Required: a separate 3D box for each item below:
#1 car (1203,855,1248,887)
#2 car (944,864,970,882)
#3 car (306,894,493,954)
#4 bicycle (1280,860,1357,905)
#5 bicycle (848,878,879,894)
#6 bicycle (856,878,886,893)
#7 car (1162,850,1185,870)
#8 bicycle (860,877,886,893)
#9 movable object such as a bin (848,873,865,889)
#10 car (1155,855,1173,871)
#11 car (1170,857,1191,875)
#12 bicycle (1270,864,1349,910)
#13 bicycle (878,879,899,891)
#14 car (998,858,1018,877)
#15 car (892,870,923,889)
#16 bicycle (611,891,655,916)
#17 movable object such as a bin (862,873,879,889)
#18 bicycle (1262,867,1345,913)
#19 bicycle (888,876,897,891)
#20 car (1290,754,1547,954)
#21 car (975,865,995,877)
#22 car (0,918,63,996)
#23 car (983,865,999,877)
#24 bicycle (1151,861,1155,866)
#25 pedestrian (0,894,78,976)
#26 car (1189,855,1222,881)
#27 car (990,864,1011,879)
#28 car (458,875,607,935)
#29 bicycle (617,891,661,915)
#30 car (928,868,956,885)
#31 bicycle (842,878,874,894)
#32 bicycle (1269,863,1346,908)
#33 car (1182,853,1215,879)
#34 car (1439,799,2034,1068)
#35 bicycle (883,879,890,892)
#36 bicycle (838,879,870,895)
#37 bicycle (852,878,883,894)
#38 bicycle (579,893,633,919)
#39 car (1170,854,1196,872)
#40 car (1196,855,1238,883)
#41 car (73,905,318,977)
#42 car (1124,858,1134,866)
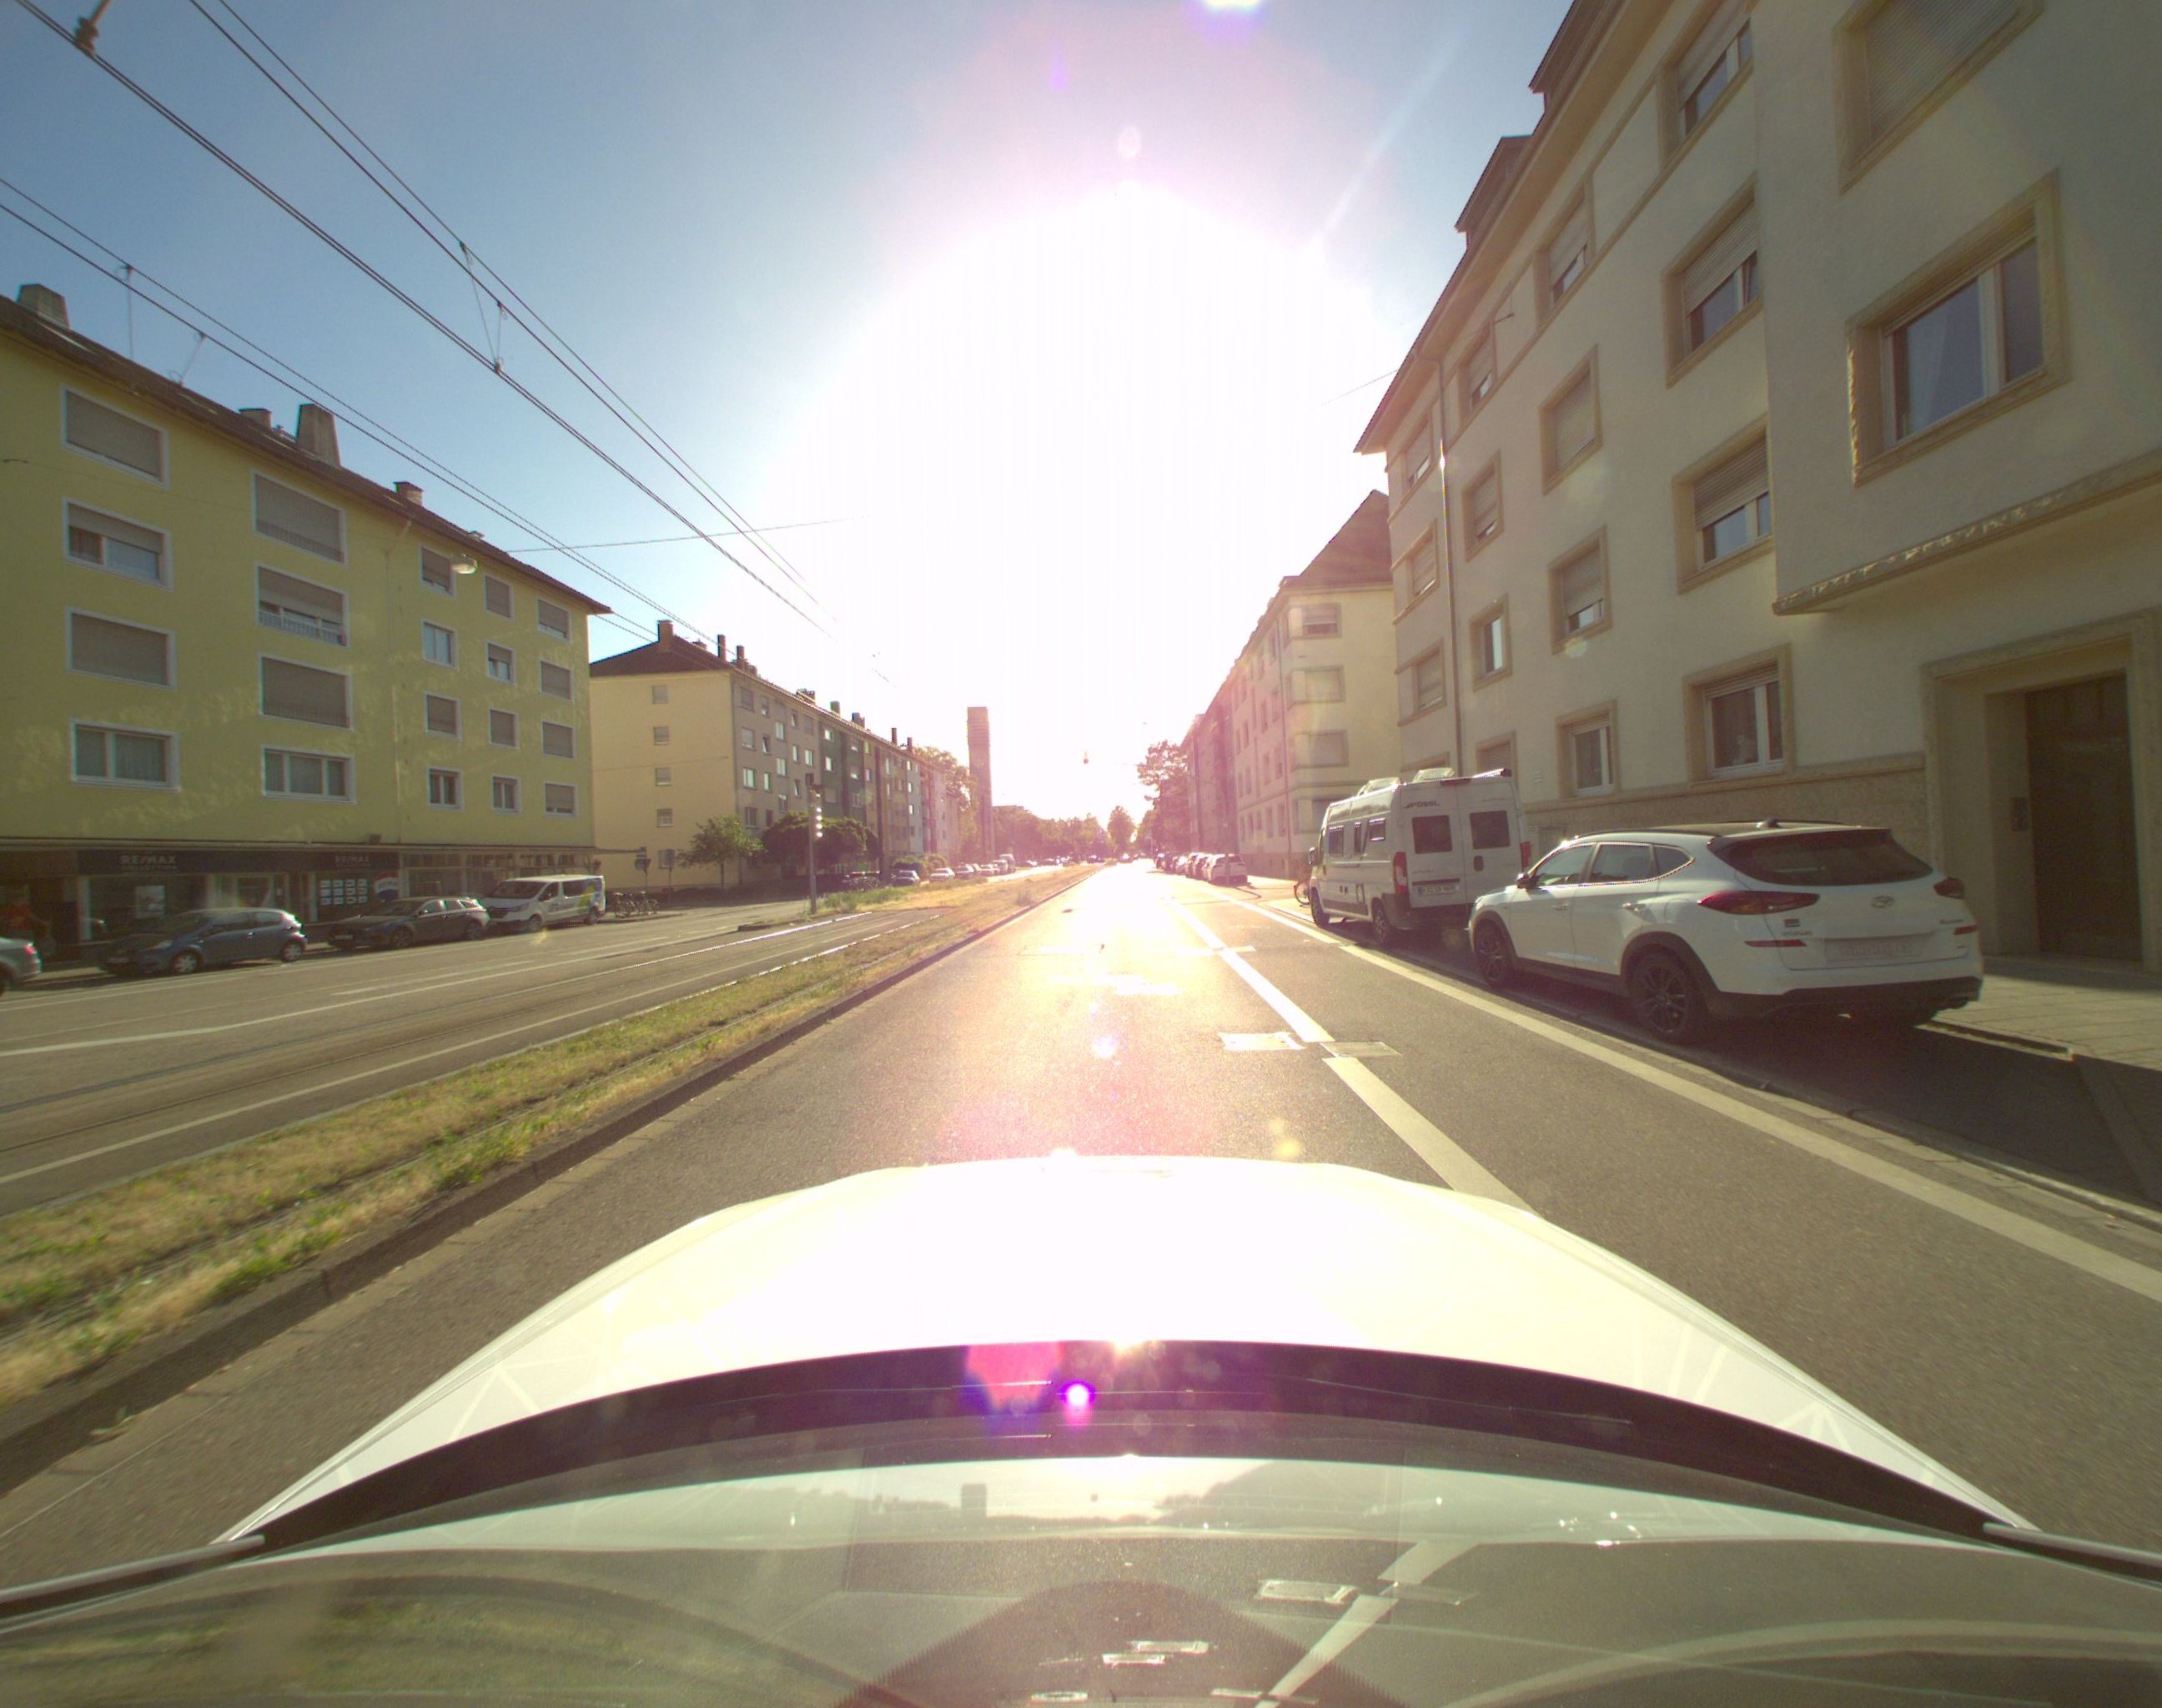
[{"bbox_3d":[7.244,0.824,41.240,1.687,1.458,4.383,-3,0,3],"label":"car"},{"bbox_3d":[-13.655,2.086,89.992,1.985,1.838,4.613,0,0,3],"label":"car"},{"bbox_3d":[-20.899,2.086,25.292,1.776,1.474,4.599,0,0,3],"label":"car"},{"bbox_3d":[6.335,0.767,21.791,0.477,1.087,1.894,-6,1,-44],"label":"bicycle"},{"bbox_3d":[-15.336,2.281,57.455,2.036,1.092,0.617,0,-1,8],"label":"bicycle"},{"bbox_3d":[-15.187,2.274,58.874,2.036,1.092,0.617,0,-1,8],"label":"bicycle"},{"bbox_3d":[9.844,0.690,87.155,1.905,1.899,5.138,-6,-1,2],"label":"car"},{"bbox_3d":[-15.415,2.280,60.255,2.028,1.092,0.619,0,-1,30],"label":"bicycle"},{"bbox_3d":[-19.710,2.392,71.403,1.141,1.368,1.040,0,-1,5],"label":"movable object such as a bin"},{"bbox_3d":[10.381,1.092,102.166,1.871,1.717,4.939,-6,-1,4],"label":"car"},{"bbox_3d":[9.241,1.107,75.815,1.629,1.454,3.792,-5,-1,3],"label":"car"},{"bbox_3d":[5.782,0.851,20.697,0.476,1.087,1.894,2,-5,-44],"label":"bicycle"},{"bbox_3d":[-14.374,2.330,60.712,1.567,0.869,0.420,0,-1,25],"label":"bicycle"},{"bbox_3d":[-11.073,2.014,124.040,2.023,2.869,6.234,-1,0,4],"label":"car"},{"bbox_3d":[-14.202,2.101,66.799,1.630,1.442,3.734,0,0,1],"label":"car"},{"bbox_3d":[-20.469,2.275,37.239,1.811,1.106,0.391,0,-1,3],"label":"bicycle"},{"bbox_3d":[-18.424,2.389,71.298,1.141,1.368,1.040,0,-1,5],"label":"movable object such as a bin"},{"bbox_3d":[5.487,0.869,20.171,2.003,1.087,0.489,0,-1,43],"label":"bicycle"},{"bbox_3d":[-14.124,2.201,61.153,0.509,1.092,1.930,0,0,-8],"label":"bicycle"},{"bbox_3d":[5.629,0.020,14.799,2.142,2.696,6.296,-5,-1,3],"label":"car"},{"bbox_3d":[-12.278,2.139,104.696,1.885,1.491,4.704,-1,0,1],"label":"car"},{"bbox_3d":[-21.483,1.991,14.197,1.776,1.420,4.418,0,0,3],"label":"car"},{"bbox_3d":[-12.191,2.353,110.587,1.689,1.515,4.326,-2,0,0],"label":"car"},{"bbox_3d":[13.421,1.791,152.257,0.645,0.973,1.806,0,0,6],"label":"bicycle"},{"bbox_3d":[-24.743,1.903,19.348,0.668,1.860,0.924,0,-1,3],"label":"pedestrian"},{"bbox_3d":[7.975,0.887,52.278,1.628,1.517,4.192,-3,0,3],"label":"car"},{"bbox_3d":[-11.456,2.483,116.471,2.023,2.021,5.376,0,0,4],"label":"car"},{"bbox_3d":[-20.757,1.861,31.201,1.987,1.949,5.499,0,0,0],"label":"car"},{"bbox_3d":[-20.440,2.269,37.674,1.811,1.106,0.391,0,-1,3],"label":"bicycle"},{"bbox_3d":[-13.575,2.190,79.754,1.721,1.454,4.379,-2,0,3],"label":"car"},{"bbox_3d":[-15.506,2.217,56.587,2.036,1.092,0.617,0,-1,8],"label":"bicycle"},{"bbox_3d":[5.932,0.849,21.418,0.476,1.087,1.894,-4,-1,-44],"label":"bicycle"},{"bbox_3d":[8.229,0.827,57.371,1.630,1.647,4.374,-5,0,1],"label":"car"},{"bbox_3d":[5.285,0.526,7.608,1.841,1.637,4.575,-4,0,1],"label":"car"},{"bbox_3d":[-14.600,2.349,61.099,0.376,0.866,2.048,0,0,-8],"label":"bicycle"},{"bbox_3d":[-15.585,2.279,55.928,2.036,1.092,0.617,0,-1,8],"label":"bicycle"},{"bbox_3d":[-15.263,2.285,58.173,2.036,1.092,0.617,0,-1,8],"label":"bicycle"},{"bbox_3d":[-20.712,2.262,35.512,2.089,1.106,0.473,0,-1,3],"label":"bicycle"},{"bbox_3d":[8.478,0.772,67.985,1.696,1.275,4.305,-6,-1,2],"label":"car"},{"bbox_3d":[7.805,0.846,46.996,1.631,1.458,4.080,-3,0,-1],"label":"car"},{"bbox_3d":[-21.413,2.044,19.955,1.776,1.385,3.770,0,0,3],"label":"car"},{"bbox_3d":[9.388,1.600,158.768,1.688,1.508,3.699,-1,0,1],"label":"car"}]
